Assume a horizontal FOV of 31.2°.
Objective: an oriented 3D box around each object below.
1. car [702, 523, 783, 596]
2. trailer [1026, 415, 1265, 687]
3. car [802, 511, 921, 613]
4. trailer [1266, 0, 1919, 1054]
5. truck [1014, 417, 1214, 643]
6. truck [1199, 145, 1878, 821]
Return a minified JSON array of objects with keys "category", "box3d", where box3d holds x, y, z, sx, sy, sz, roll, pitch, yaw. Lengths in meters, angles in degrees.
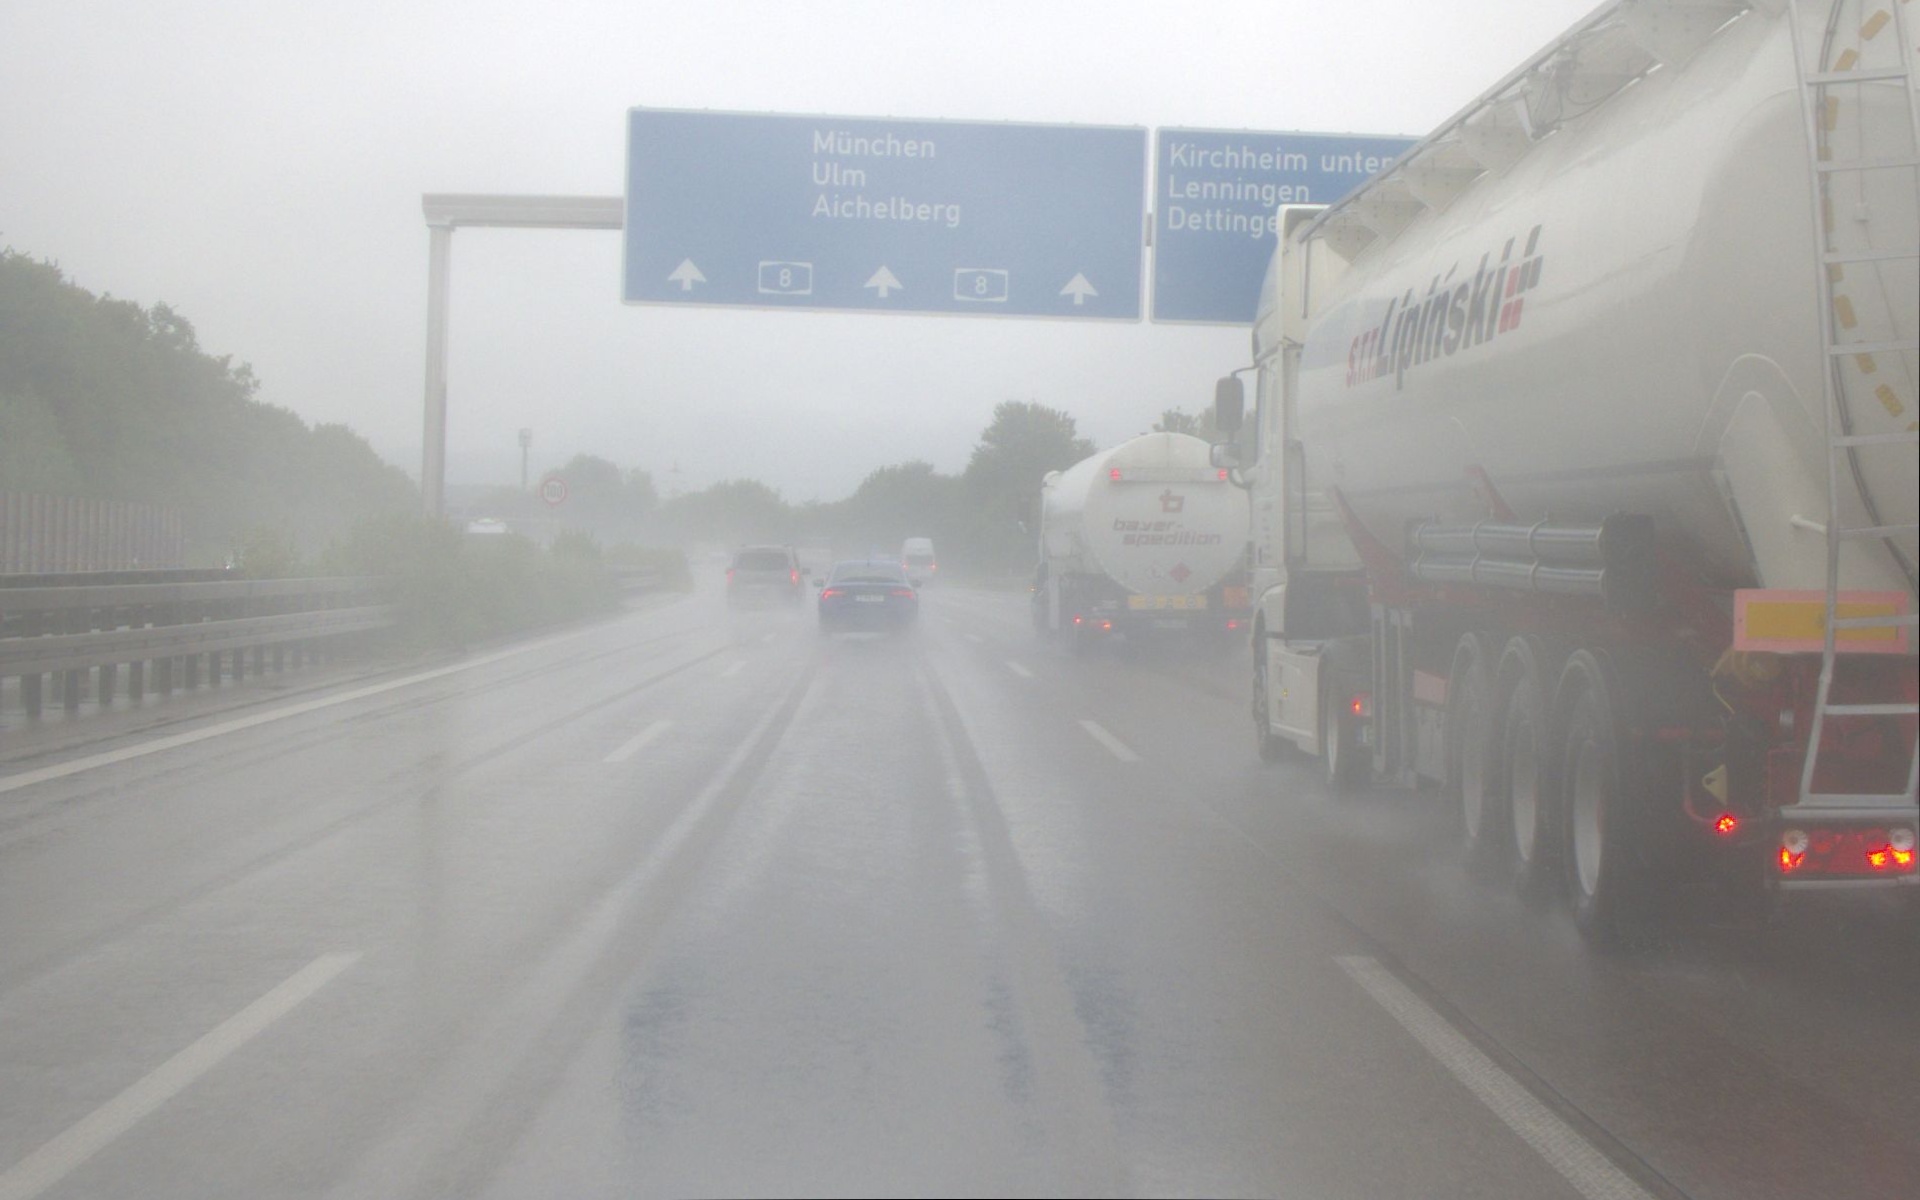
[{"category":"car","box3d":[-5.421,-1.027,85.698,1.925,1.735,4.404,1,1,-4]},{"category":"trailer","box3d":[2.723,-0.763,53.249,3.004,3.834,8.624,1,1,-1]},{"category":"car","box3d":[-1.729,-0.694,61.703,1.978,1.750,4.481,0,1,0]},{"category":"trailer","box3d":[3.645,-0.584,16.058,3.188,3.657,11.667,1,1,-1]},{"category":"truck","box3d":[2.579,-1.199,59.541,2.943,3.671,6.362,1,1,-2]},{"category":"truck","box3d":[3.532,-0.718,23.087,3.104,3.793,7.213,1,1,-2]}]
